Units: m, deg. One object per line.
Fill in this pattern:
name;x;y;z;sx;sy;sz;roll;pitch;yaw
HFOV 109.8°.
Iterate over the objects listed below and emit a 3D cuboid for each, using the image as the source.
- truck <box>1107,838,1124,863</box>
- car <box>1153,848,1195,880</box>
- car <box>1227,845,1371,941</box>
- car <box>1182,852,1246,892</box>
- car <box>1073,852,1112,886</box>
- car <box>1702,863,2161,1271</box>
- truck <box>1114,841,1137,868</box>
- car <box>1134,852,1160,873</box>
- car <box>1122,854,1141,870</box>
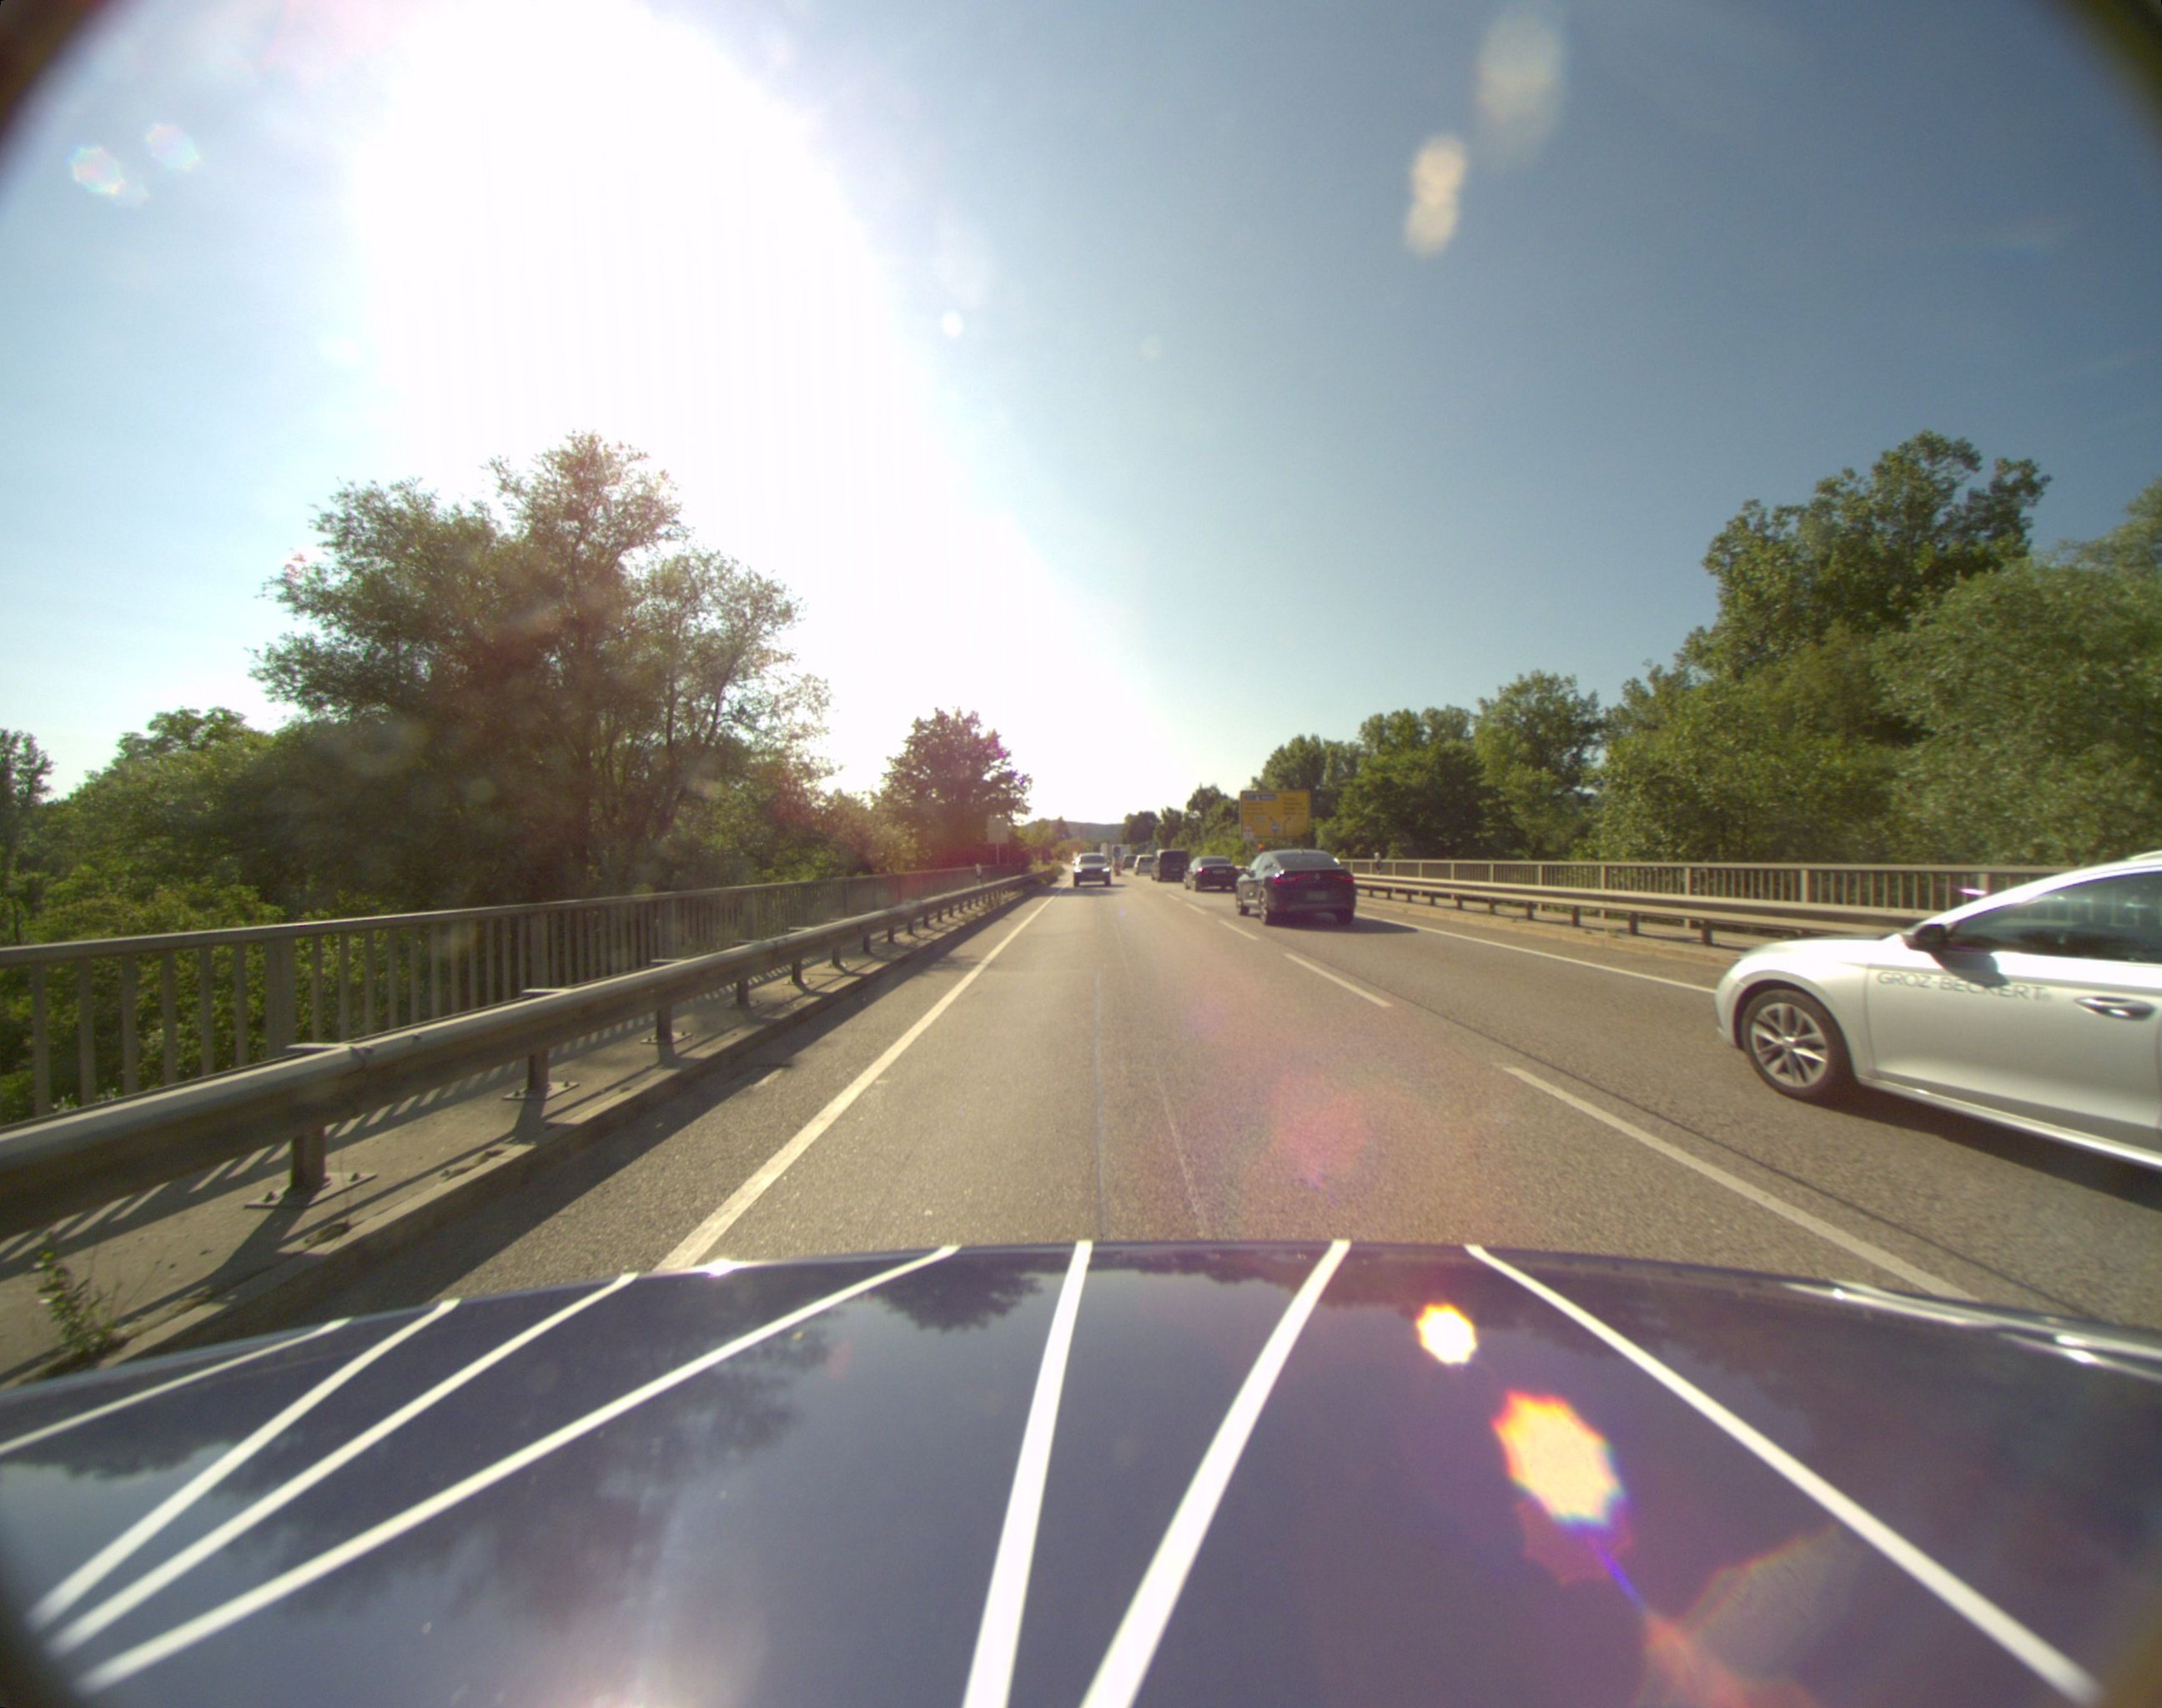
truck;6.050;-0.569;135.024;2.744;4.303;8.130;-1;0;1
car;5.460;0.560;45.108;1.972;1.796;4.531;-1;0;2
car;4.619;0.750;16.855;1.972;1.796;4.531;-1;0;2
car;5.458;0.705;31.673;1.893;1.479;4.273;-2;0;1
car;0.654;0.751;39.665;1.871;1.598;4.380;-2;0;2
car;4.787;0.793;2.594;1.736;1.427;4.487;-1;0;1
truck;5.659;0.071;97.931;2.620;3.235;6.967;-1;0;1
car;5.275;0.660;61.060;1.824;1.537;4.061;-2;0;2
car;5.421;0.875;82.239;1.743;1.655;4.046;-2;0;1
